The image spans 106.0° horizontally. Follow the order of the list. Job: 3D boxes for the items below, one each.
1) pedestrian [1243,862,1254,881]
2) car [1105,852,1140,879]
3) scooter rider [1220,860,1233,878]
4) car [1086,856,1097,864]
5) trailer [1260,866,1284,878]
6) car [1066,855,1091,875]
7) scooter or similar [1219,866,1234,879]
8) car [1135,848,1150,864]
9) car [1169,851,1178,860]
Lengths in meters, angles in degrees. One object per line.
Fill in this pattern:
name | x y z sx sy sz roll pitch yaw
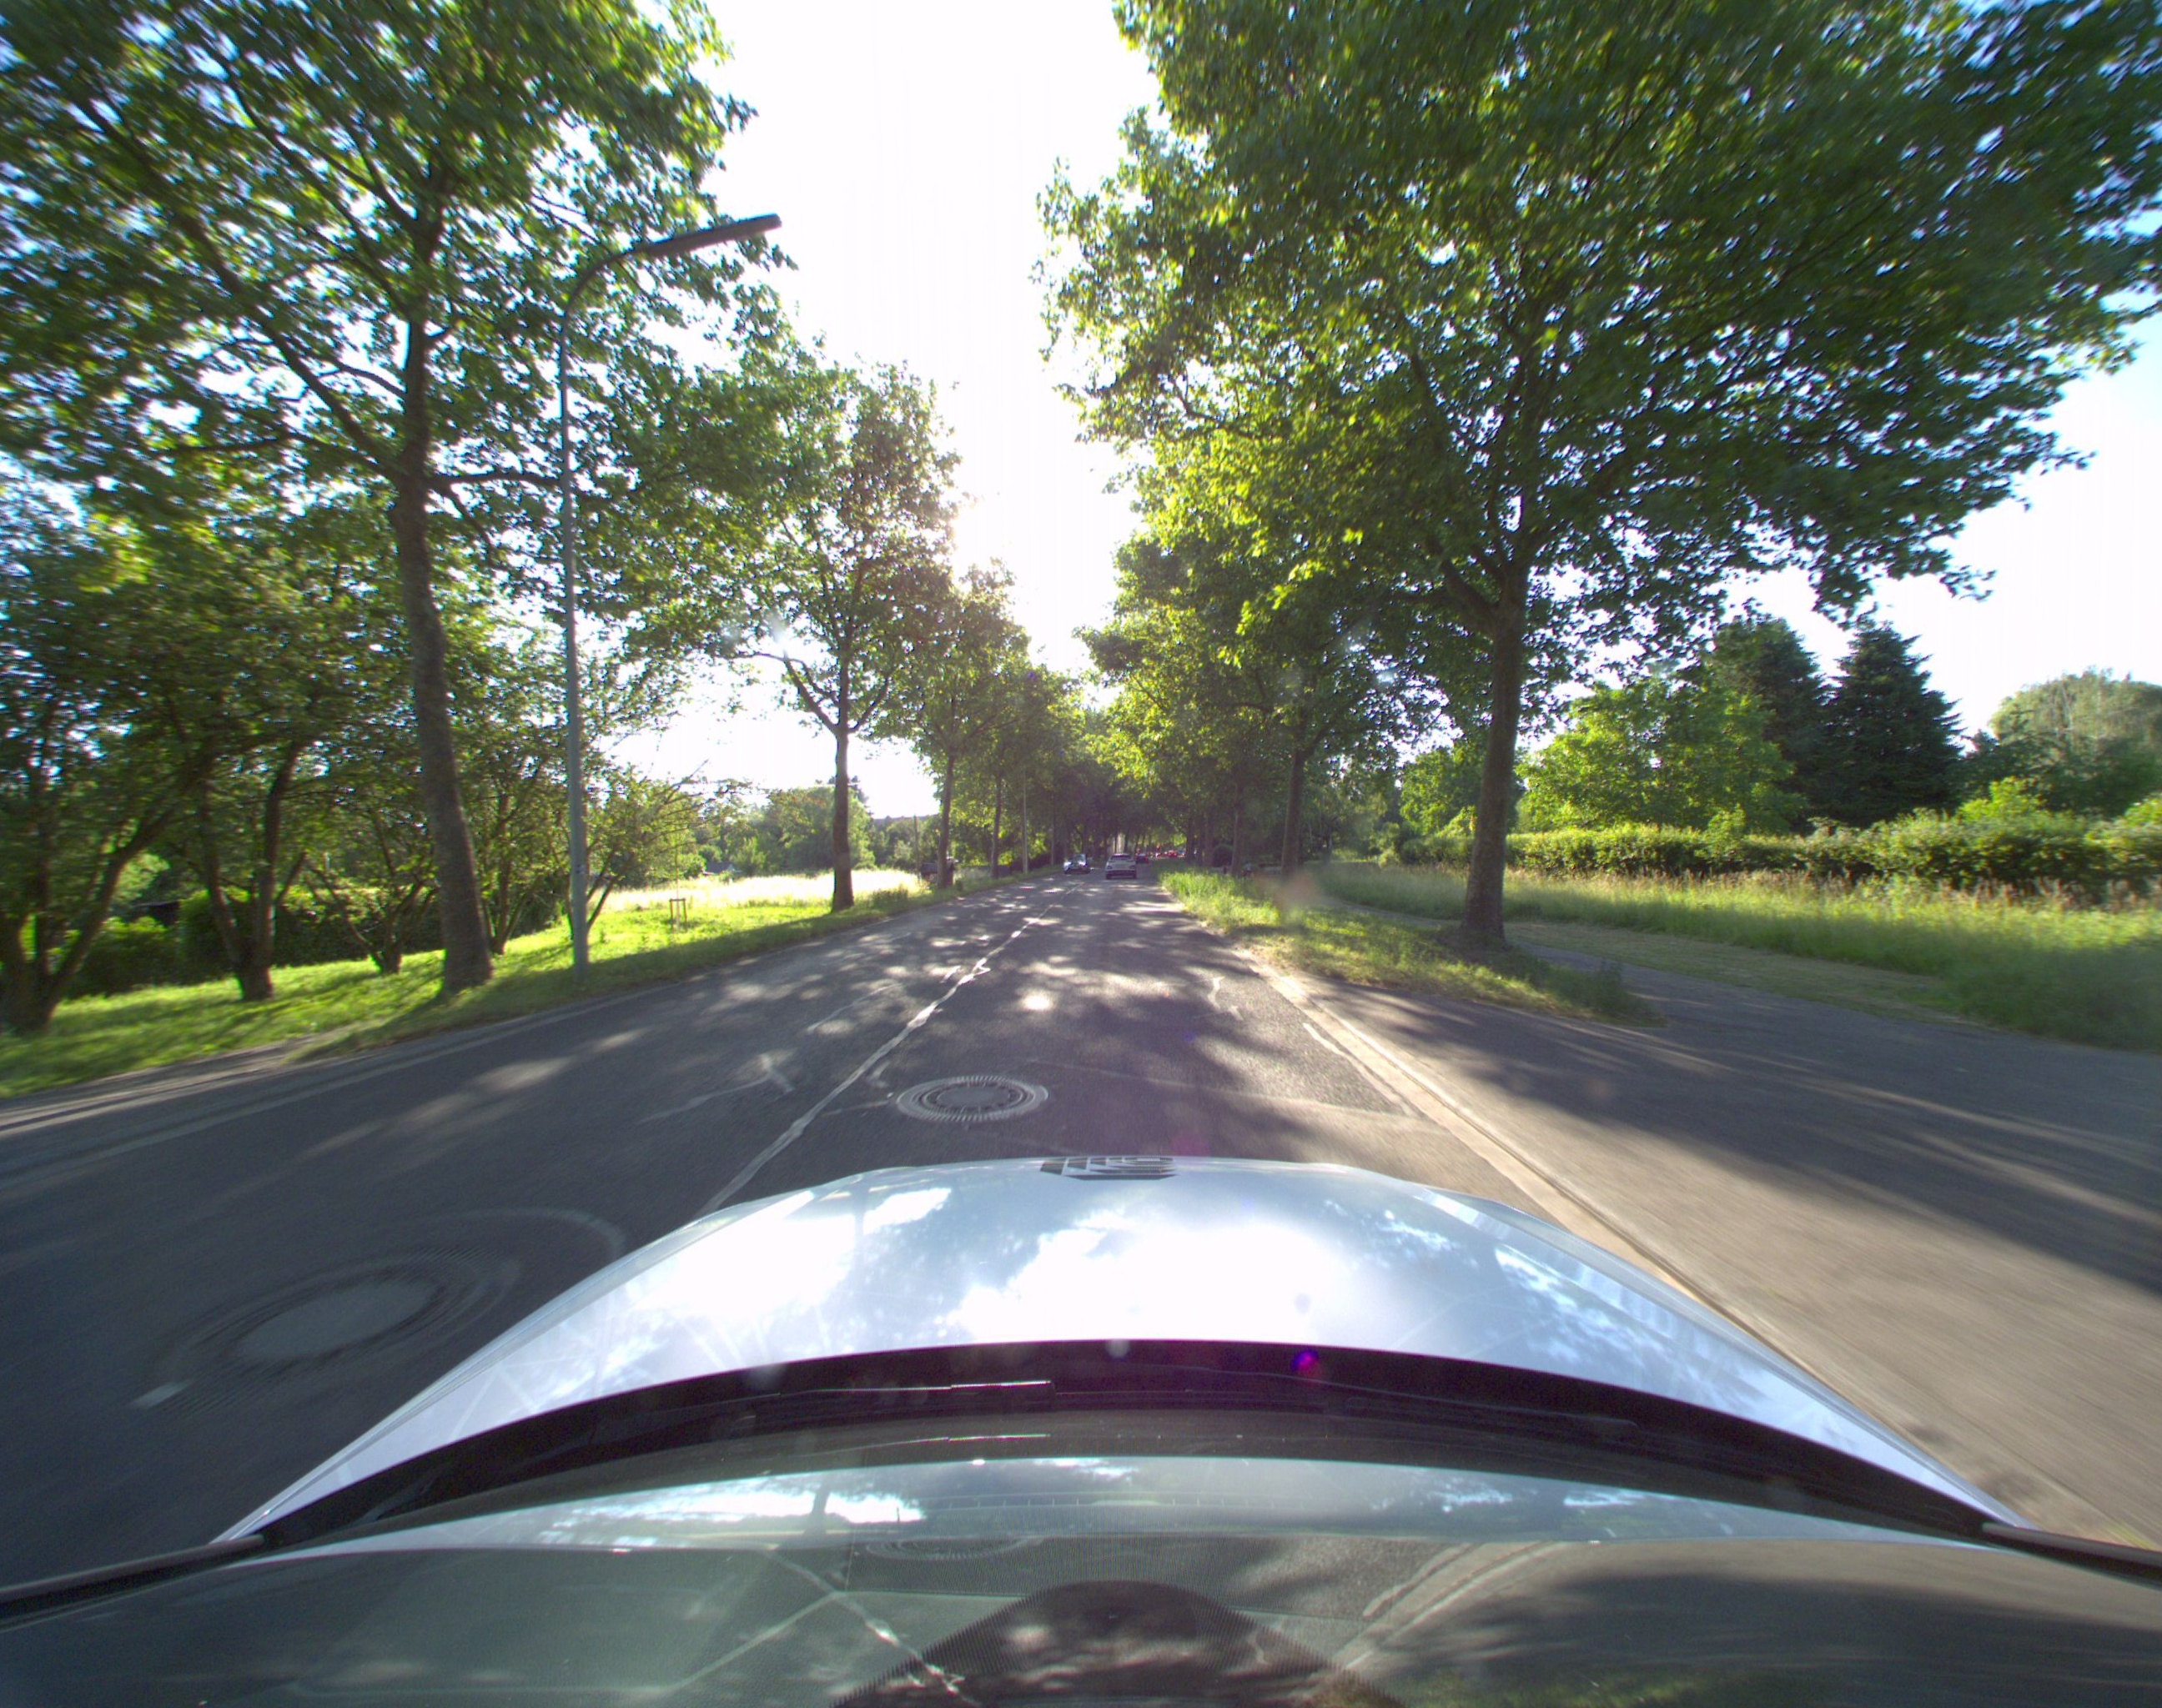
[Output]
pedestrian | 14.310 1.512 69.515 0.836 1.576 1.211 -1 -1 13
car | 2.532 0.672 49.233 1.985 1.574 4.003 -1 0 3
scooter rider | 12.922 1.338 72.273 0.849 1.576 0.776 0 -1 -38
car | 2.020 1.208 158.219 1.743 1.304 4.007 -3 1 6
trailer | 17.634 1.642 75.164 2.105 1.052 1.204 -1 -1 9
car | -0.167 0.857 62.650 1.708 1.505 4.003 -1 -1 3
scooter or similar | 12.918 1.603 72.165 1.607 1.135 0.337 0 -1 -40
car | 8.203 0.304 108.808 1.984 2.014 4.005 -1 -1 5
car | 21.730 0.413 191.829 1.983 2.014 4.007 -1 -1 7
